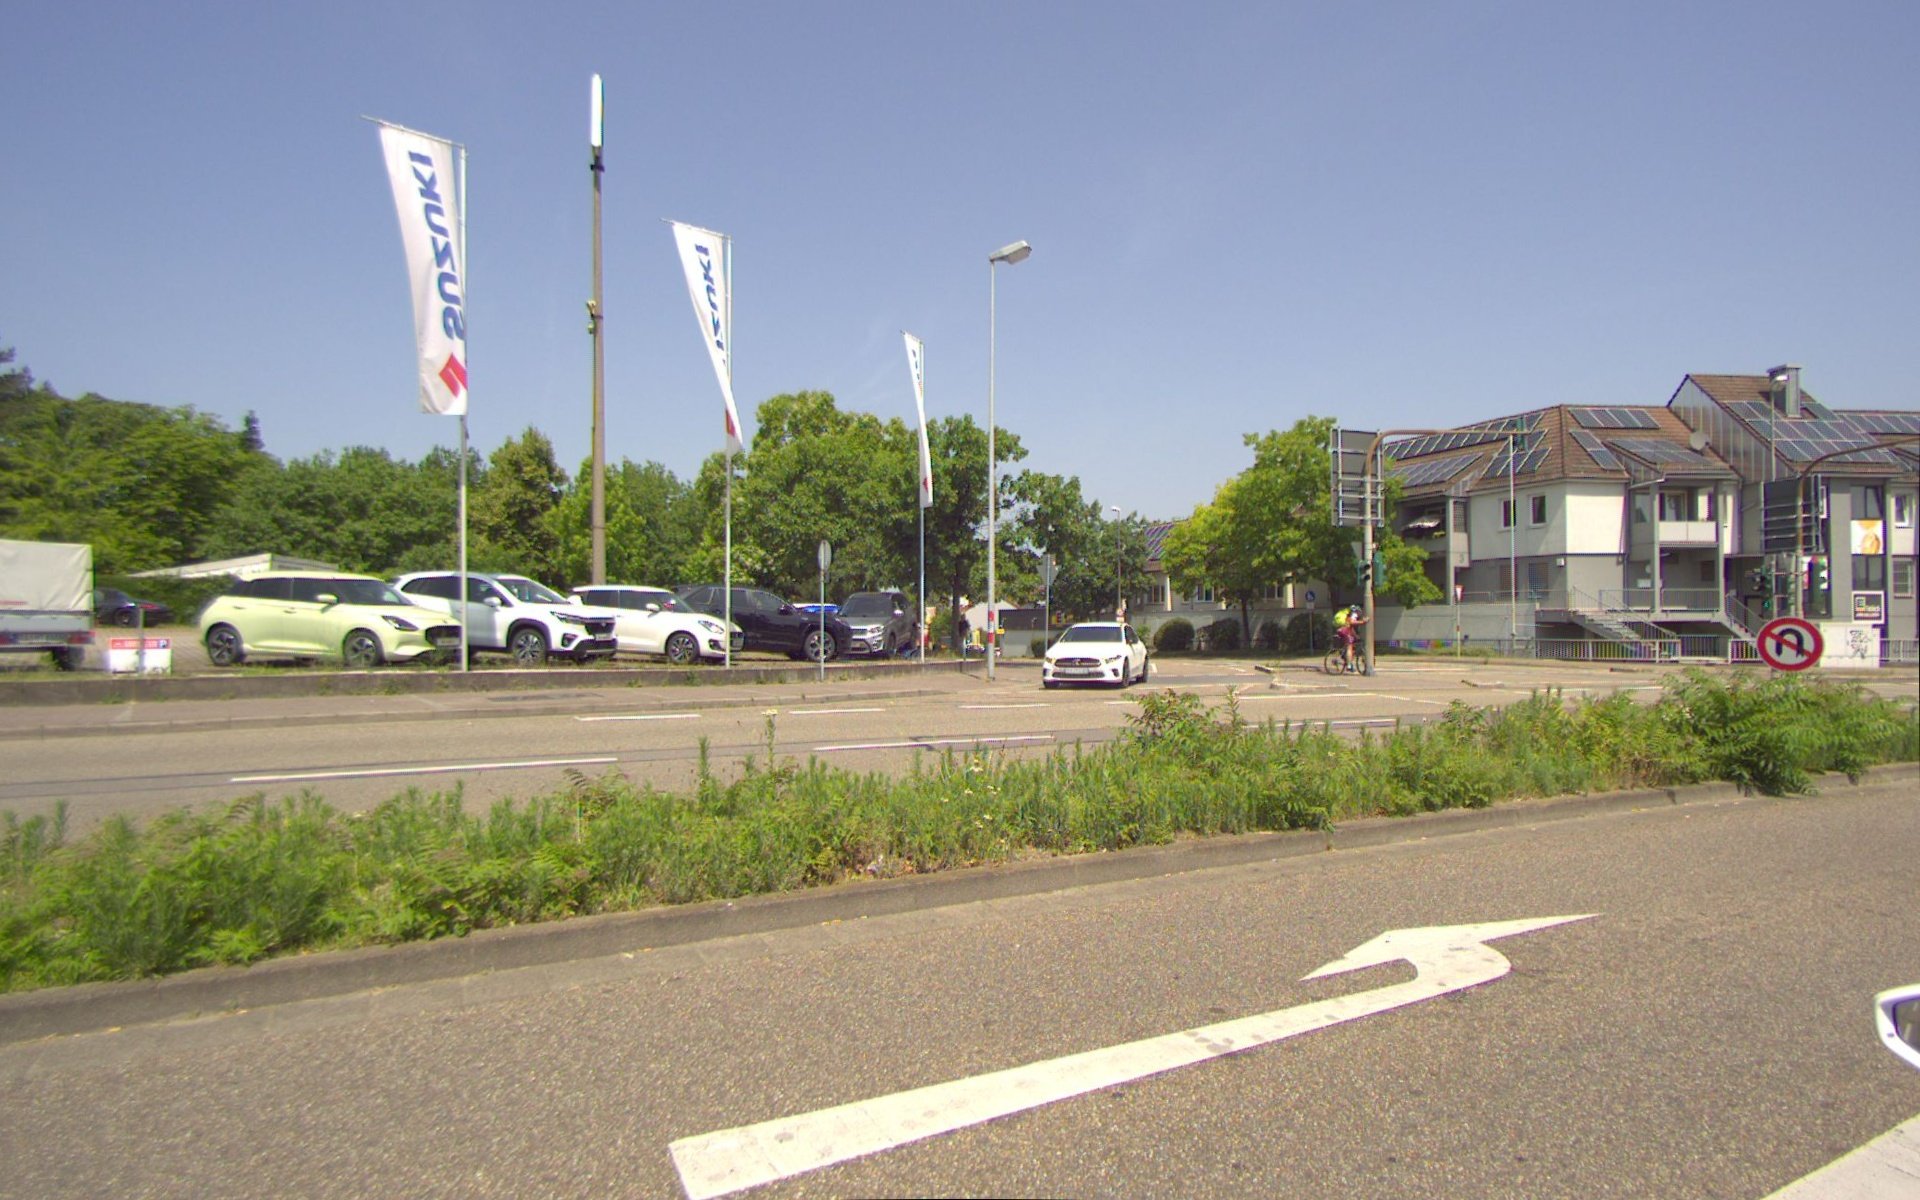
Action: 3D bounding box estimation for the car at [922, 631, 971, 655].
[{"bbox_3d":[-0.912,2.811,65.700,1.972,1.505,4.424,0,-3,-19],"label":"car"}]

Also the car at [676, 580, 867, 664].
[{"bbox_3d":[-4.354,0.533,23.231,3.962,1.746,1.834,3,-2,-27],"label":"car"}]

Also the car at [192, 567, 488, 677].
[{"bbox_3d":[-9.817,0.321,16.040,3.742,1.530,1.759,2,0,9],"label":"car"}]

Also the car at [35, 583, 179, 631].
[{"bbox_3d":[-26.773,0.218,31.662,3.320,1.392,1.638,2,0,-37],"label":"car"}]

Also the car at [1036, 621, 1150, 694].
[{"bbox_3d":[3.105,1.233,22.704,1.837,1.443,4.269,-1,-1,17],"label":"car"}]

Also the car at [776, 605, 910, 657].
[{"bbox_3d":[-3.790,1.010,32.576,3.946,1.557,1.785,2,0,-25],"label":"car"}]

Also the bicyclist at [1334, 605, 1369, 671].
[{"bbox_3d":[10.035,0.969,25.760,0.811,1.664,0.419,0,1,-30],"label":"bicyclist"}]

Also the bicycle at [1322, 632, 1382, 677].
[{"bbox_3d":[10.086,1.387,25.810,1.768,1.068,0.418,0,1,-30],"label":"bicycle"}]

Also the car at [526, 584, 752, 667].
[{"bbox_3d":[-6.326,0.502,19.939,3.882,1.451,1.717,2,-2,13],"label":"car"}]

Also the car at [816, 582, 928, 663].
[{"bbox_3d":[-2.249,0.649,26.928,1.792,1.926,4.313,2,-2,11],"label":"car"}]

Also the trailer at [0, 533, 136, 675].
[{"bbox_3d":[-12.589,0.040,13.243,2.387,1.726,1.693,1,0,22],"label":"trailer"}]

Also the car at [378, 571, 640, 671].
[{"bbox_3d":[-8.029,0.345,18.009,3.882,1.561,1.920,2,0,14],"label":"car"}]
